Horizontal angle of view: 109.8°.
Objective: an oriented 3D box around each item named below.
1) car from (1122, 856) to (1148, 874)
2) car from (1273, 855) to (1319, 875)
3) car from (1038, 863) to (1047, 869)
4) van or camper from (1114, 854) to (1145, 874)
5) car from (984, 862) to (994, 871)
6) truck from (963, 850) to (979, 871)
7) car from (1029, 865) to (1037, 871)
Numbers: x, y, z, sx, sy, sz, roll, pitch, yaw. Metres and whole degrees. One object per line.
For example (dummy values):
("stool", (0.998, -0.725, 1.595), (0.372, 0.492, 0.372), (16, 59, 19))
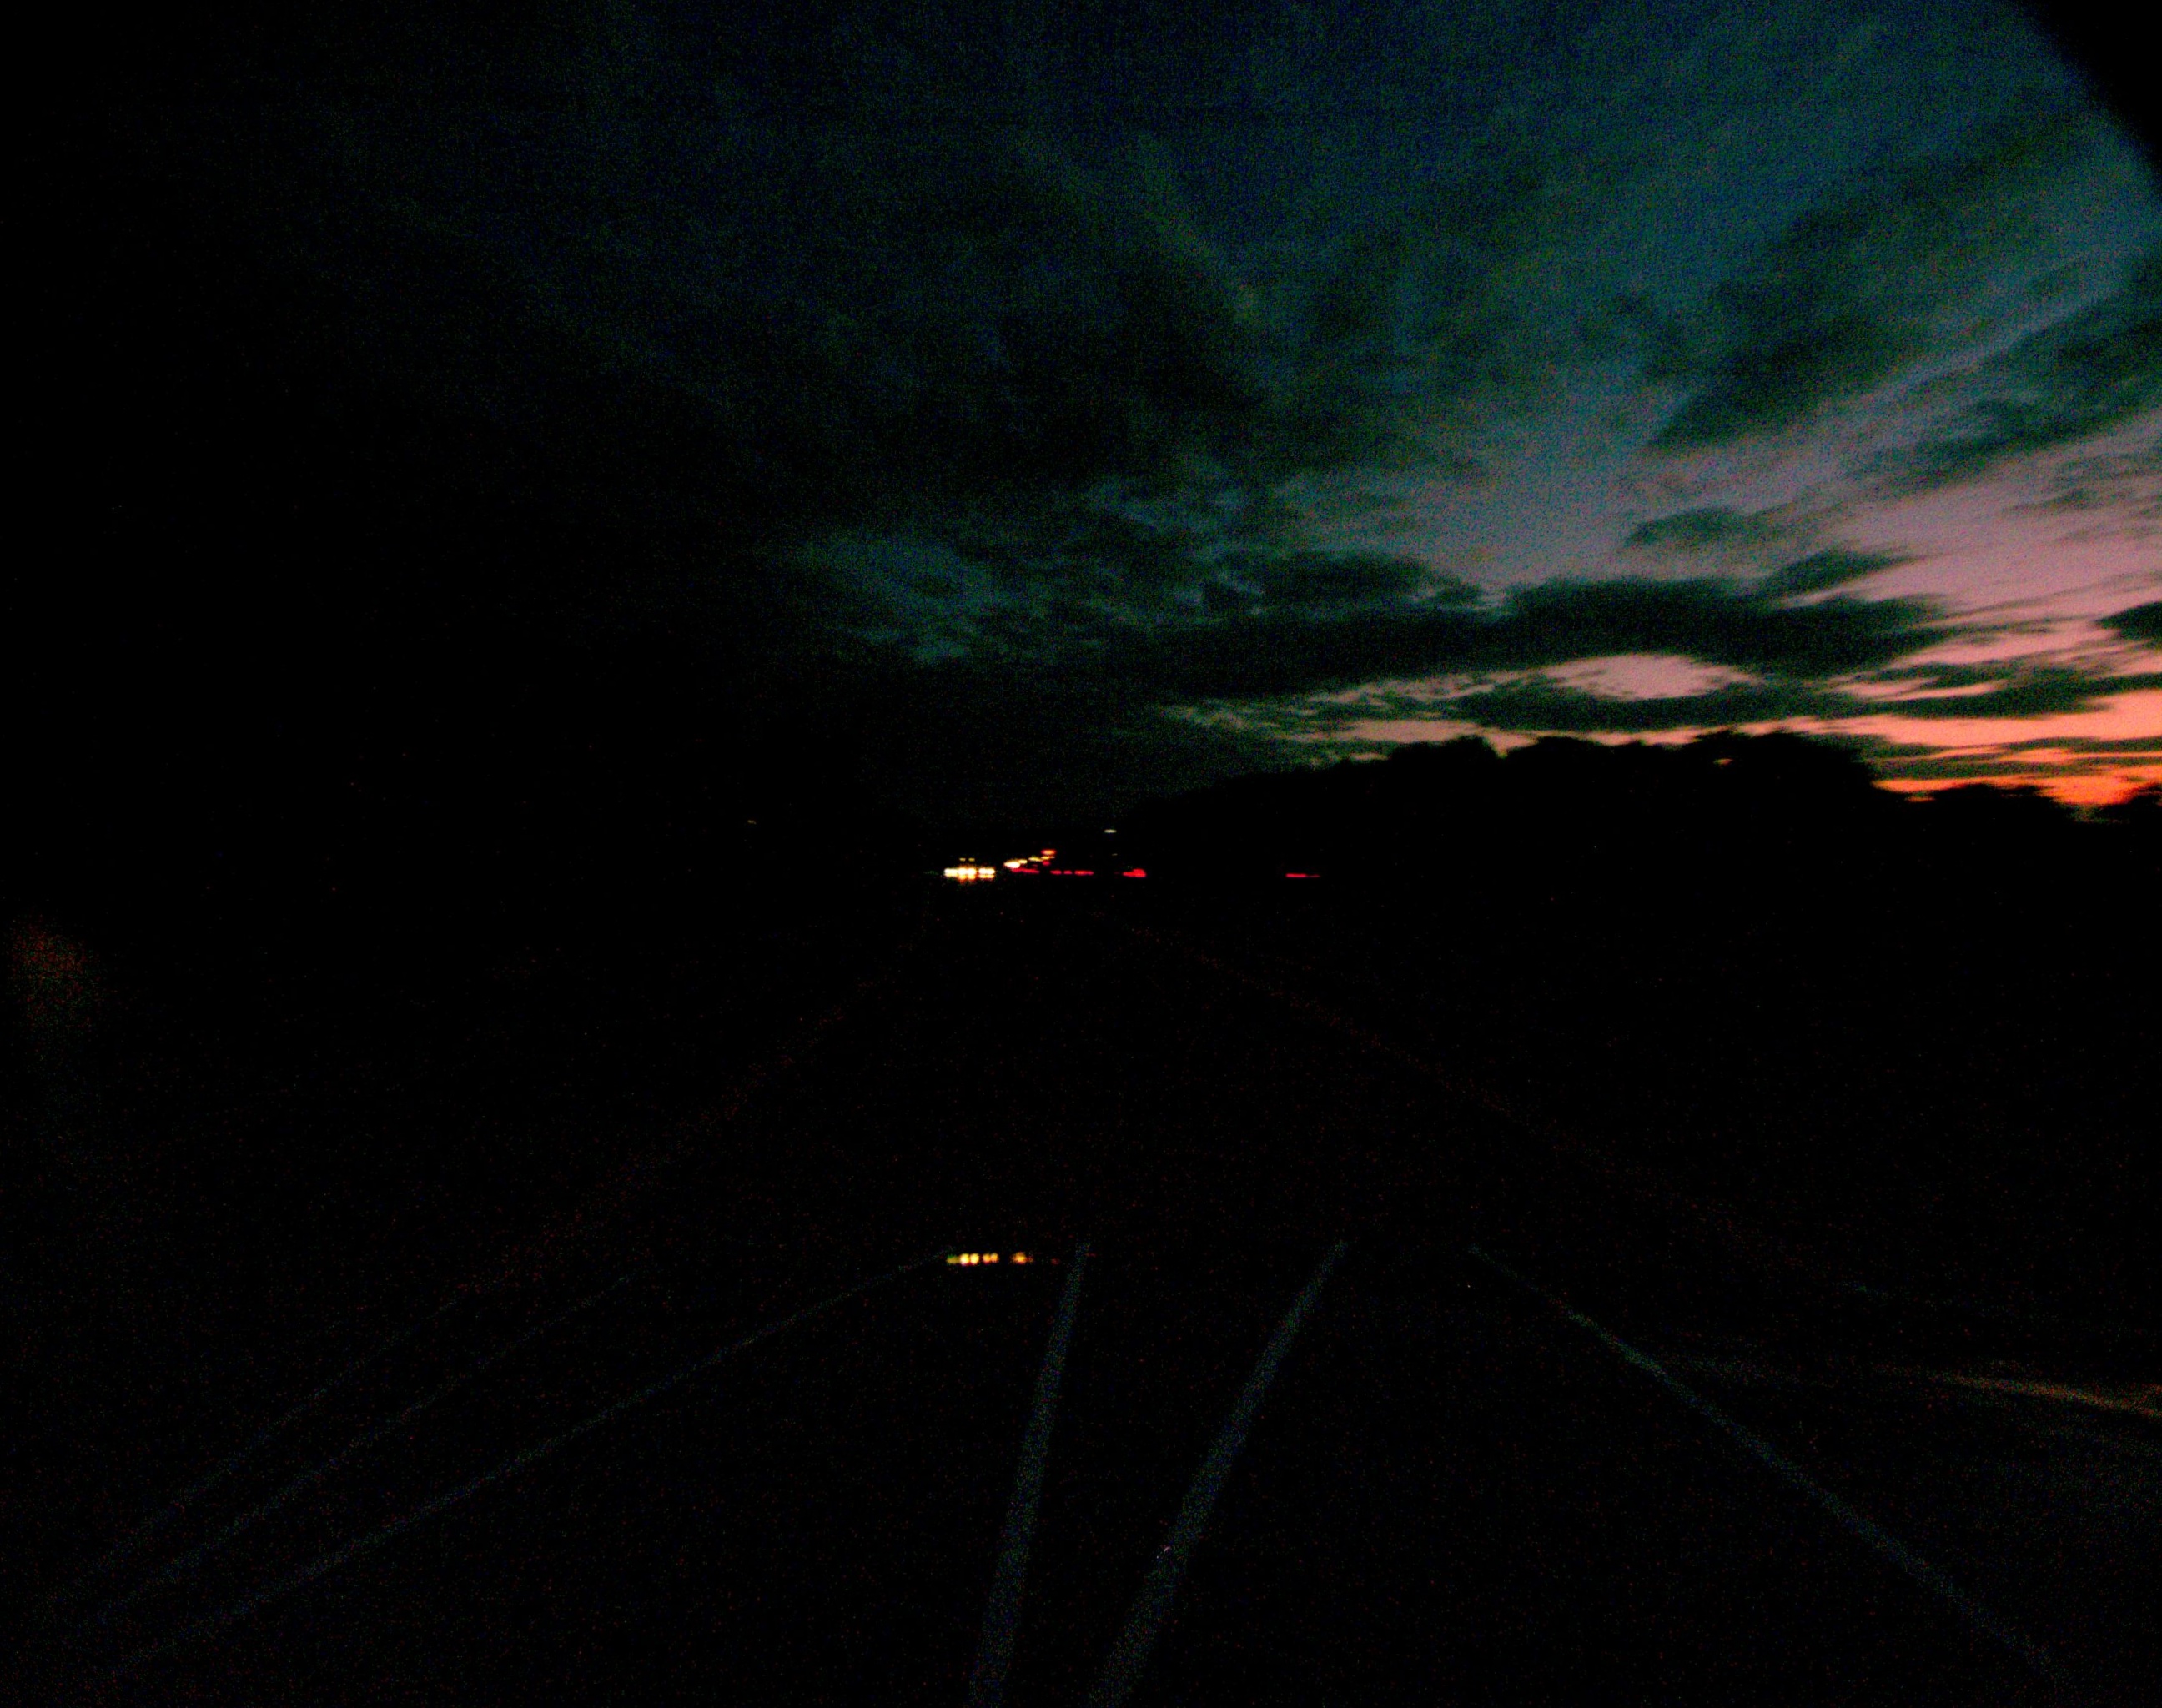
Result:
("car", (6.272, 1.308, 89.288), (2.001, 2.002, 3.996), (-1, 0, -12))
("car", (17.783, 0.920, 63.027), (2.001, 1.540, 3.996), (-2, 0, -12))
("car", (-10.481, 3.199, 207.274), (2.000, 1.600, 4.555), (0, -1, -10))
("van or camper", (6.527, 1.311, 103.298), (2.525, 2.579, 6.482), (0, 0, -12))
("car", (-20.008, 2.721, 165.254), (2.000, 2.001, 3.997), (1, 0, -9))
("truck", (-23.631, 1.420, 163.510), (3.355, 4.292, 11.317), (1, 0, -8))
("car", (-16.052, 4.589, 254.624), (2.001, 2.002, 3.995), (-1, 0, -14))
